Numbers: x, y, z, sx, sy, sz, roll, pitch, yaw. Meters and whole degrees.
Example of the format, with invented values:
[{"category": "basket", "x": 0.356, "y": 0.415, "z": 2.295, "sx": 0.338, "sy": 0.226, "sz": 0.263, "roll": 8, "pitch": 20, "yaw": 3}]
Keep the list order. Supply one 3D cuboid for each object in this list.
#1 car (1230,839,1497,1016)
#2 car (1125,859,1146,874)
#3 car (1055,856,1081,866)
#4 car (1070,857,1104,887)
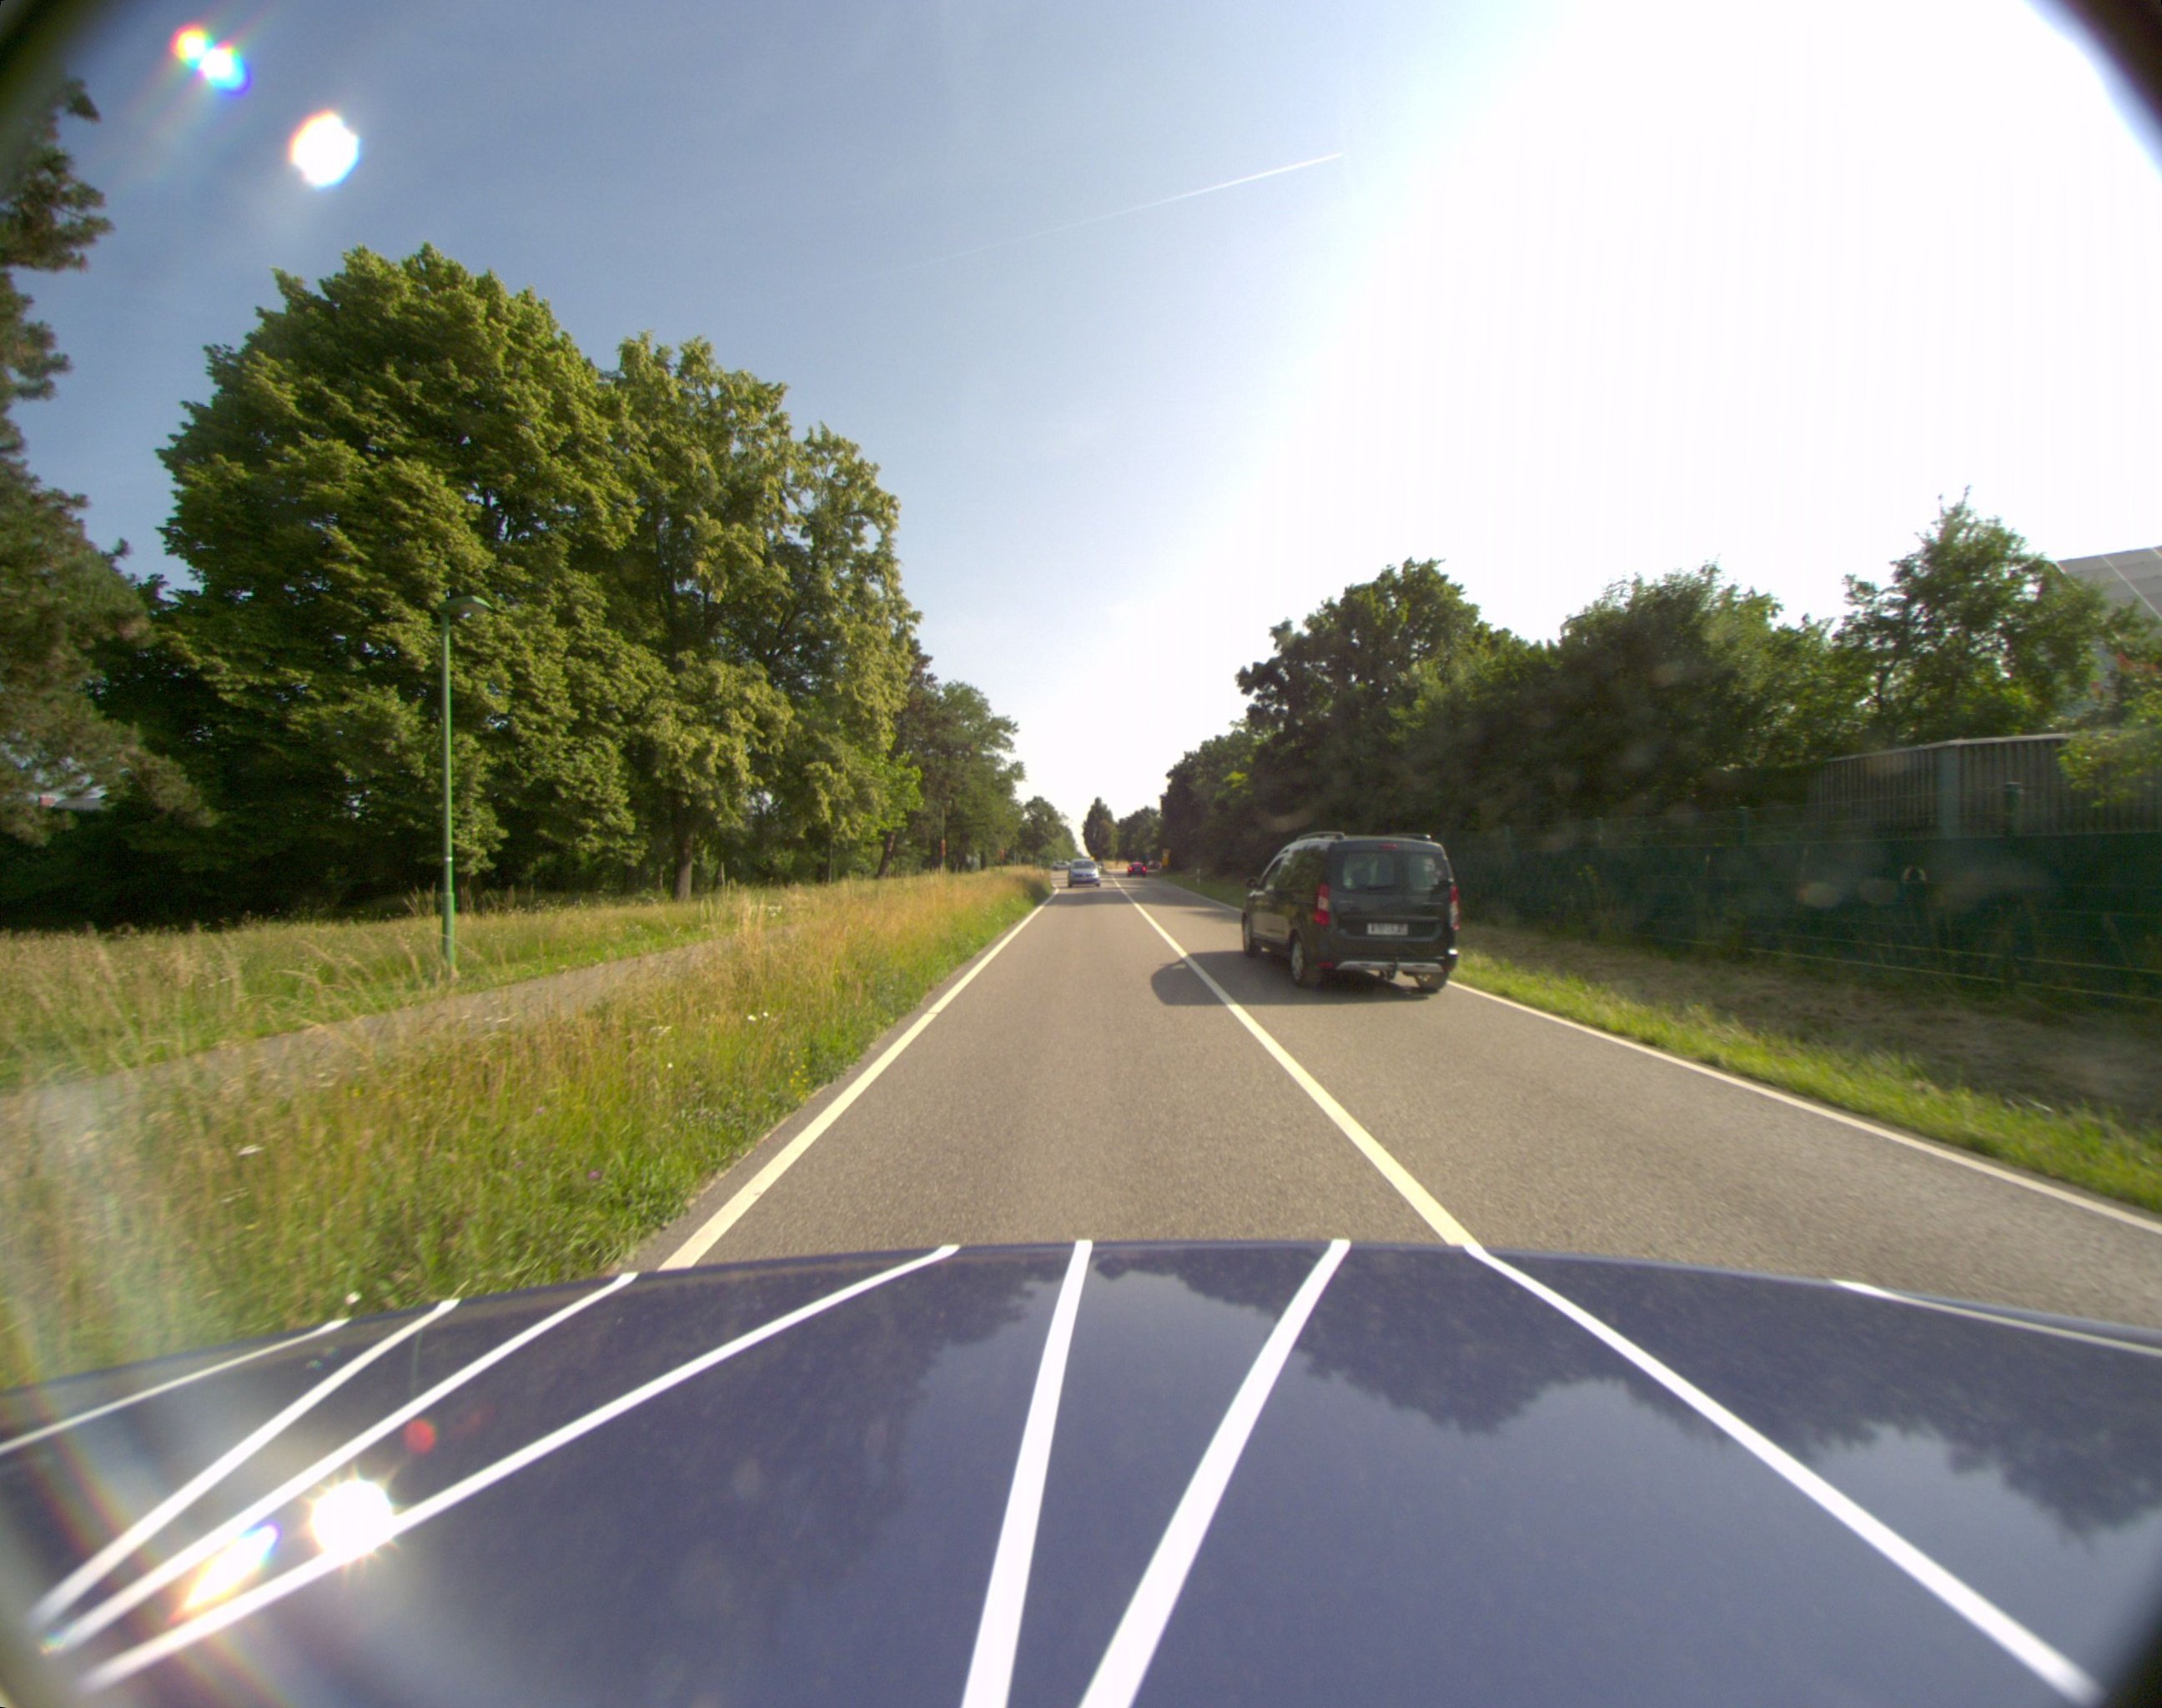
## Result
[{"category": "car", "x": 3.368, "y": 0.765, "z": 10.054, "sx": 1.944, "sy": 1.807, "sz": 4.242, "roll": 1, "pitch": 0, "yaw": 1}, {"category": "car", "x": 5.516, "y": 1.256, "z": 77.320, "sx": 1.874, "sy": 1.415, "sz": 4.577, "roll": 1, "pitch": 0, "yaw": 1}, {"category": "car", "x": -2.039, "y": 1.052, "z": 119.707, "sx": 3.995, "sy": 1.477, "sz": 2.001, "roll": 0, "pitch": 0, "yaw": 4}, {"category": "car", "x": 0.334, "y": 0.972, "z": 42.824, "sx": 1.808, "sy": 1.592, "sz": 4.269, "roll": -1, "pitch": 0, "yaw": 0}]
